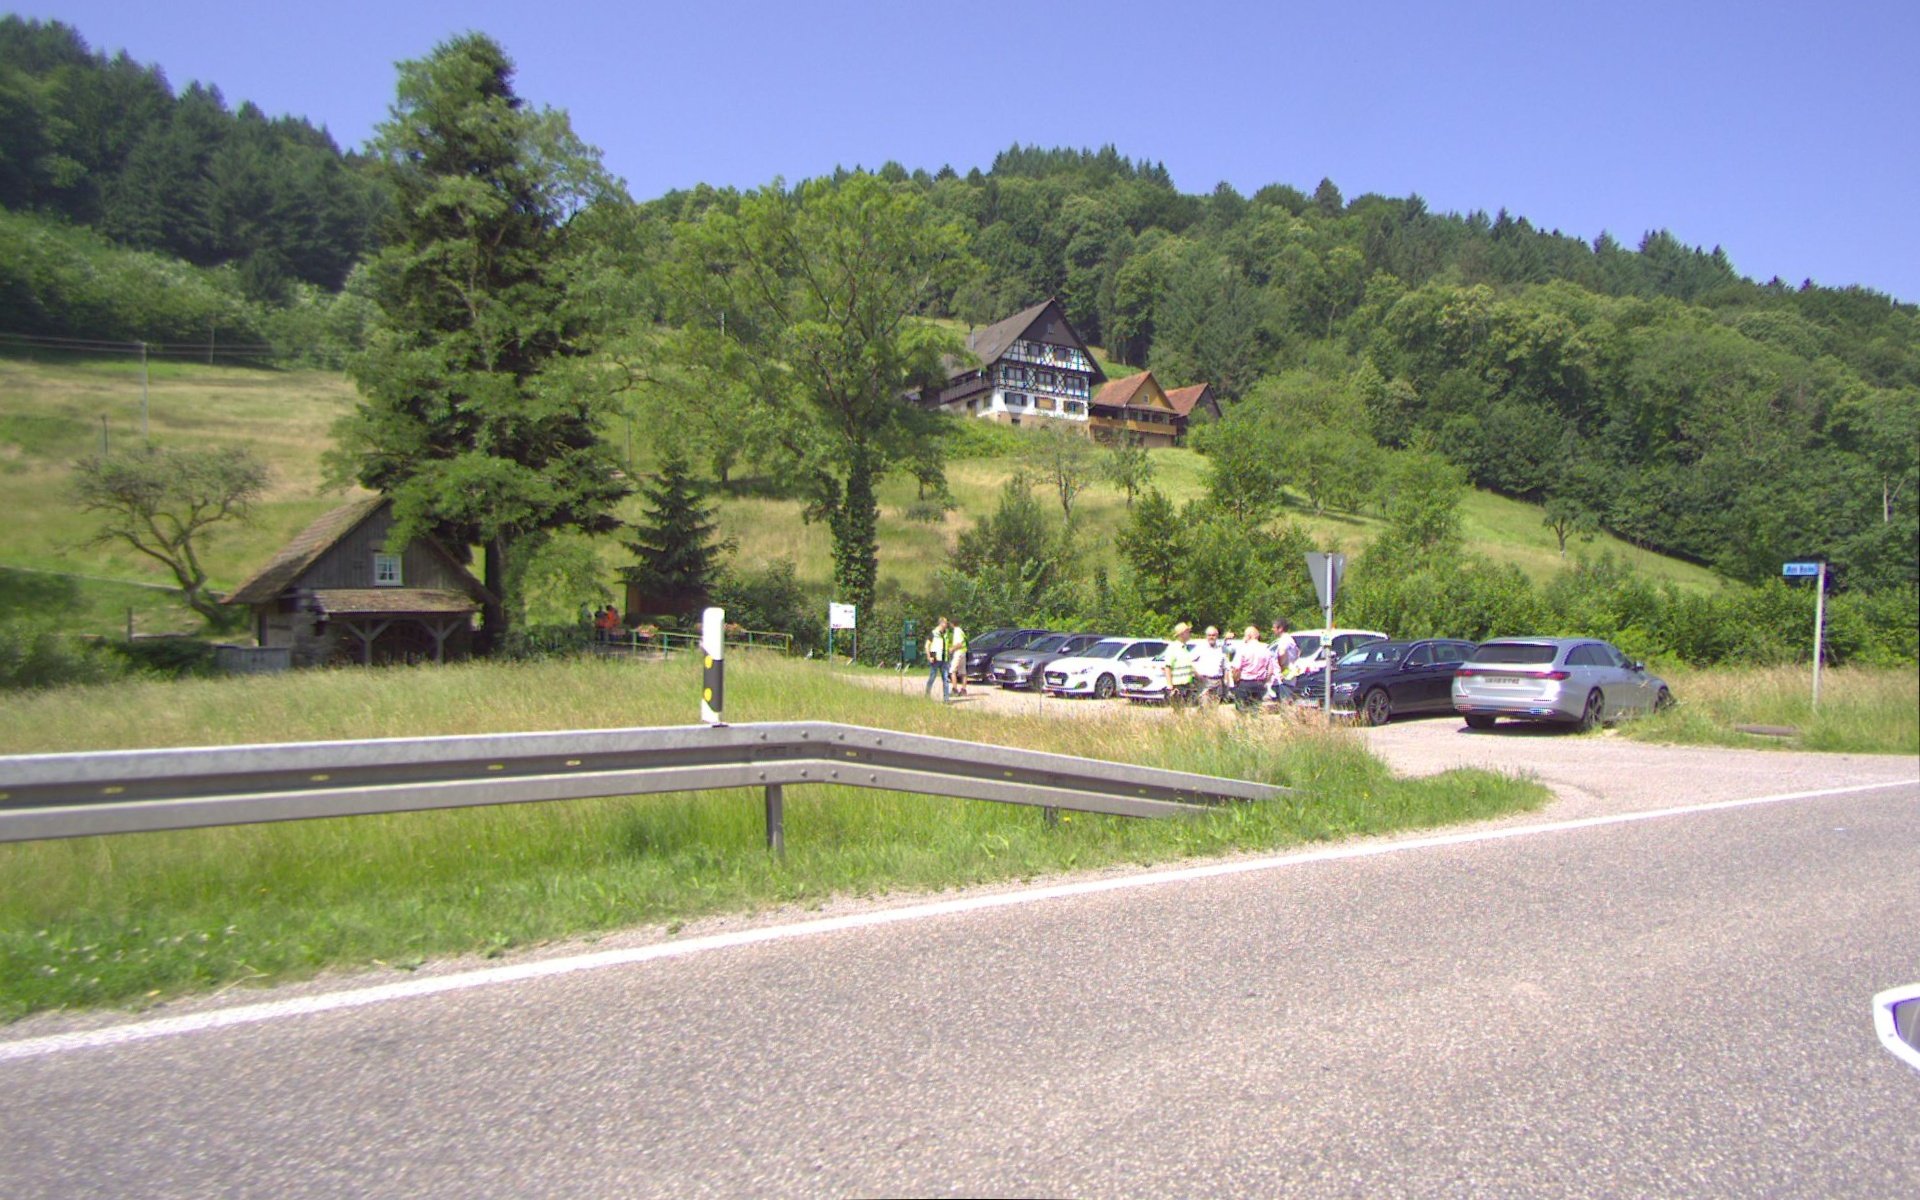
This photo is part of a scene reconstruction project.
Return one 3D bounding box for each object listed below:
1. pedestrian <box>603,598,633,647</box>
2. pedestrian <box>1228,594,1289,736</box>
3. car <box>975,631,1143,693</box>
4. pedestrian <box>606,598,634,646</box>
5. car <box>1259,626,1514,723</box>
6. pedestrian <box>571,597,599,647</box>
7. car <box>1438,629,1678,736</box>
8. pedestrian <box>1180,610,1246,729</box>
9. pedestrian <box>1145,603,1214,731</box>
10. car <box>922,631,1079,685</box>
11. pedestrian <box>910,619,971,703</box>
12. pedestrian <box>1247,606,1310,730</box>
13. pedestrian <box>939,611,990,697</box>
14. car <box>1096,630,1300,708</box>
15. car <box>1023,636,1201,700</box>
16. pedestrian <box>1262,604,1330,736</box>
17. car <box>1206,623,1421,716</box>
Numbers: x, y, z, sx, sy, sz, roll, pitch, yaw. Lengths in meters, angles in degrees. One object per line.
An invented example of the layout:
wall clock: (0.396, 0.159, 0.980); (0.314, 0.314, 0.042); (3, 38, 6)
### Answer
pedestrian: (-14.357, 0.964, 42.197); (0.913, 2.040, 0.701); (0, -2, 9)
pedestrian: (4.295, 0.922, 14.477); (0.529, 1.980, 0.654); (2, -3, -44)
car: (2.808, 1.689, 27.999); (4.479, 1.520, 1.979); (2, 0, -37)
pedestrian: (-14.591, 0.940, 43.066); (0.924, 2.040, 0.693); (2, -3, -39)
car: (8.123, 1.389, 19.112); (4.559, 1.673, 1.988); (2, -3, -26)
pedestrian: (-15.475, 0.921, 41.472); (0.922, 2.040, 0.695); (2, -2, -33)
car: (9.782, 1.271, 16.340); (4.235, 1.520, 1.814); (2, -3, -35)
pedestrian: (3.968, 1.080, 15.817); (0.779, 1.819, 0.770); (1, -2, -7)
pedestrian: (3.310, 1.004, 15.187); (0.688, 1.866, 0.786); (1, -2, -23)
car: (1.266, 1.706, 30.042); (4.479, 1.520, 1.980); (2, -3, -37)
pedestrian: (-0.441, 1.346, 22.354); (0.992, 1.818, 0.946); (2, -3, -40)
pedestrian: (4.895, 1.037, 15.471); (0.756, 1.864, 0.649); (0, -2, -1)
pedestrian: (0.109, 1.297, 24.237); (0.850, 1.995, 1.123); (1, -2, -24)
car: (5.694, 1.584, 23.818); (4.852, 1.663, 1.981); (2, -3, -34)
car: (3.951, 1.694, 25.780); (4.479, 1.520, 1.980); (2, -3, -37)
pedestrian: (4.926, 1.017, 14.761); (0.756, 1.883, 0.649); (0, -2, 0)
car: (7.723, 1.457, 21.806); (4.718, 1.806, 1.861); (2, -1, -31)
